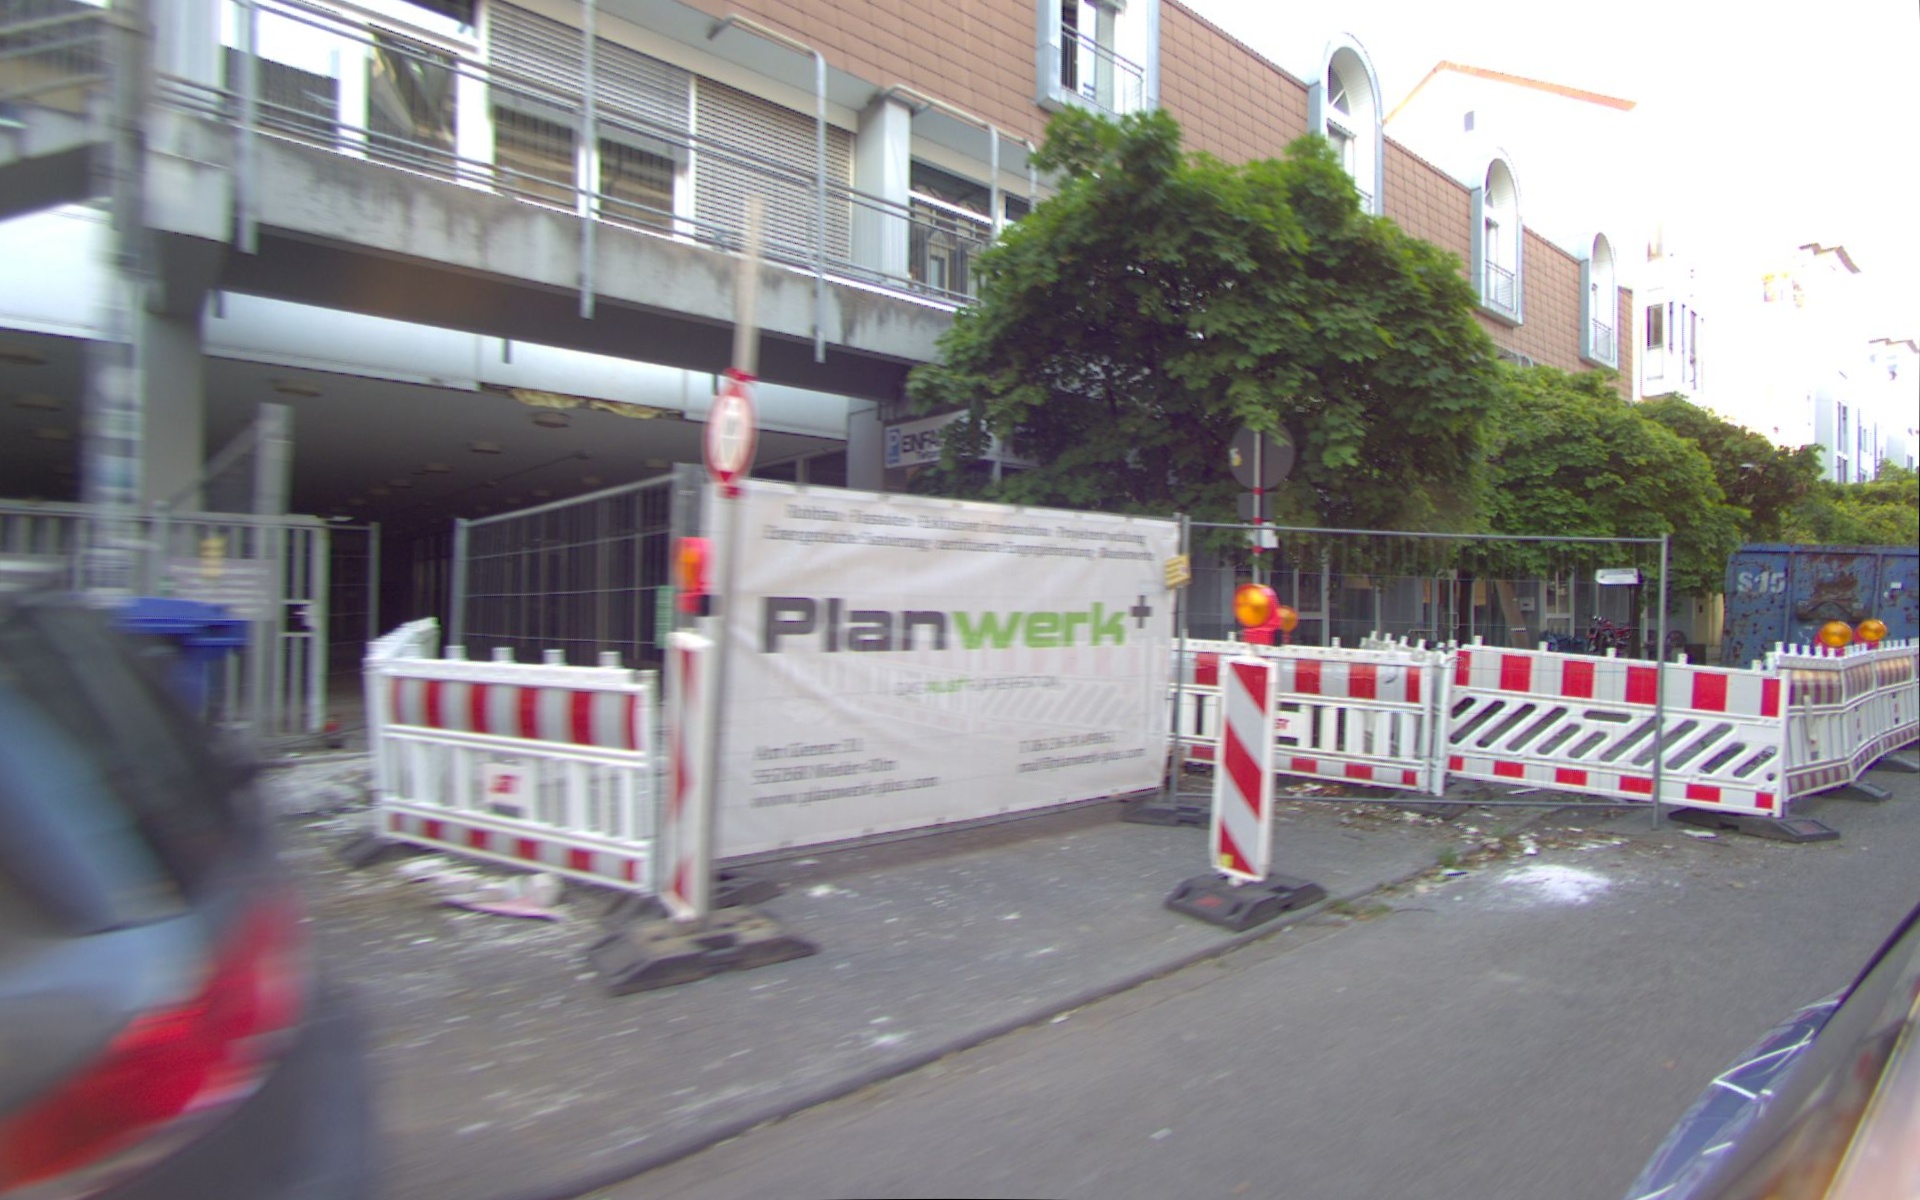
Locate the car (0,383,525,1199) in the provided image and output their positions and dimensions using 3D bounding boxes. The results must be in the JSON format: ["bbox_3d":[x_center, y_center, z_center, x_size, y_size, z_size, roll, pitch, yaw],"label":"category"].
[{"bbox_3d":[-2.815,0.646,0.555,4.443,1.705,1.753,1,-2,-38],"label":"car"}]

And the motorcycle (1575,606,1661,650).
[{"bbox_3d":[19.156,0.795,29.459,2.405,1.238,0.874,0,0,-22],"label":"motorcycle"}]

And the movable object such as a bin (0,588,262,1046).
[{"bbox_3d":[-3.344,0.680,3.693,1.241,1.394,0.795,-2,-2,25],"label":"movable object such as a bin"}]
